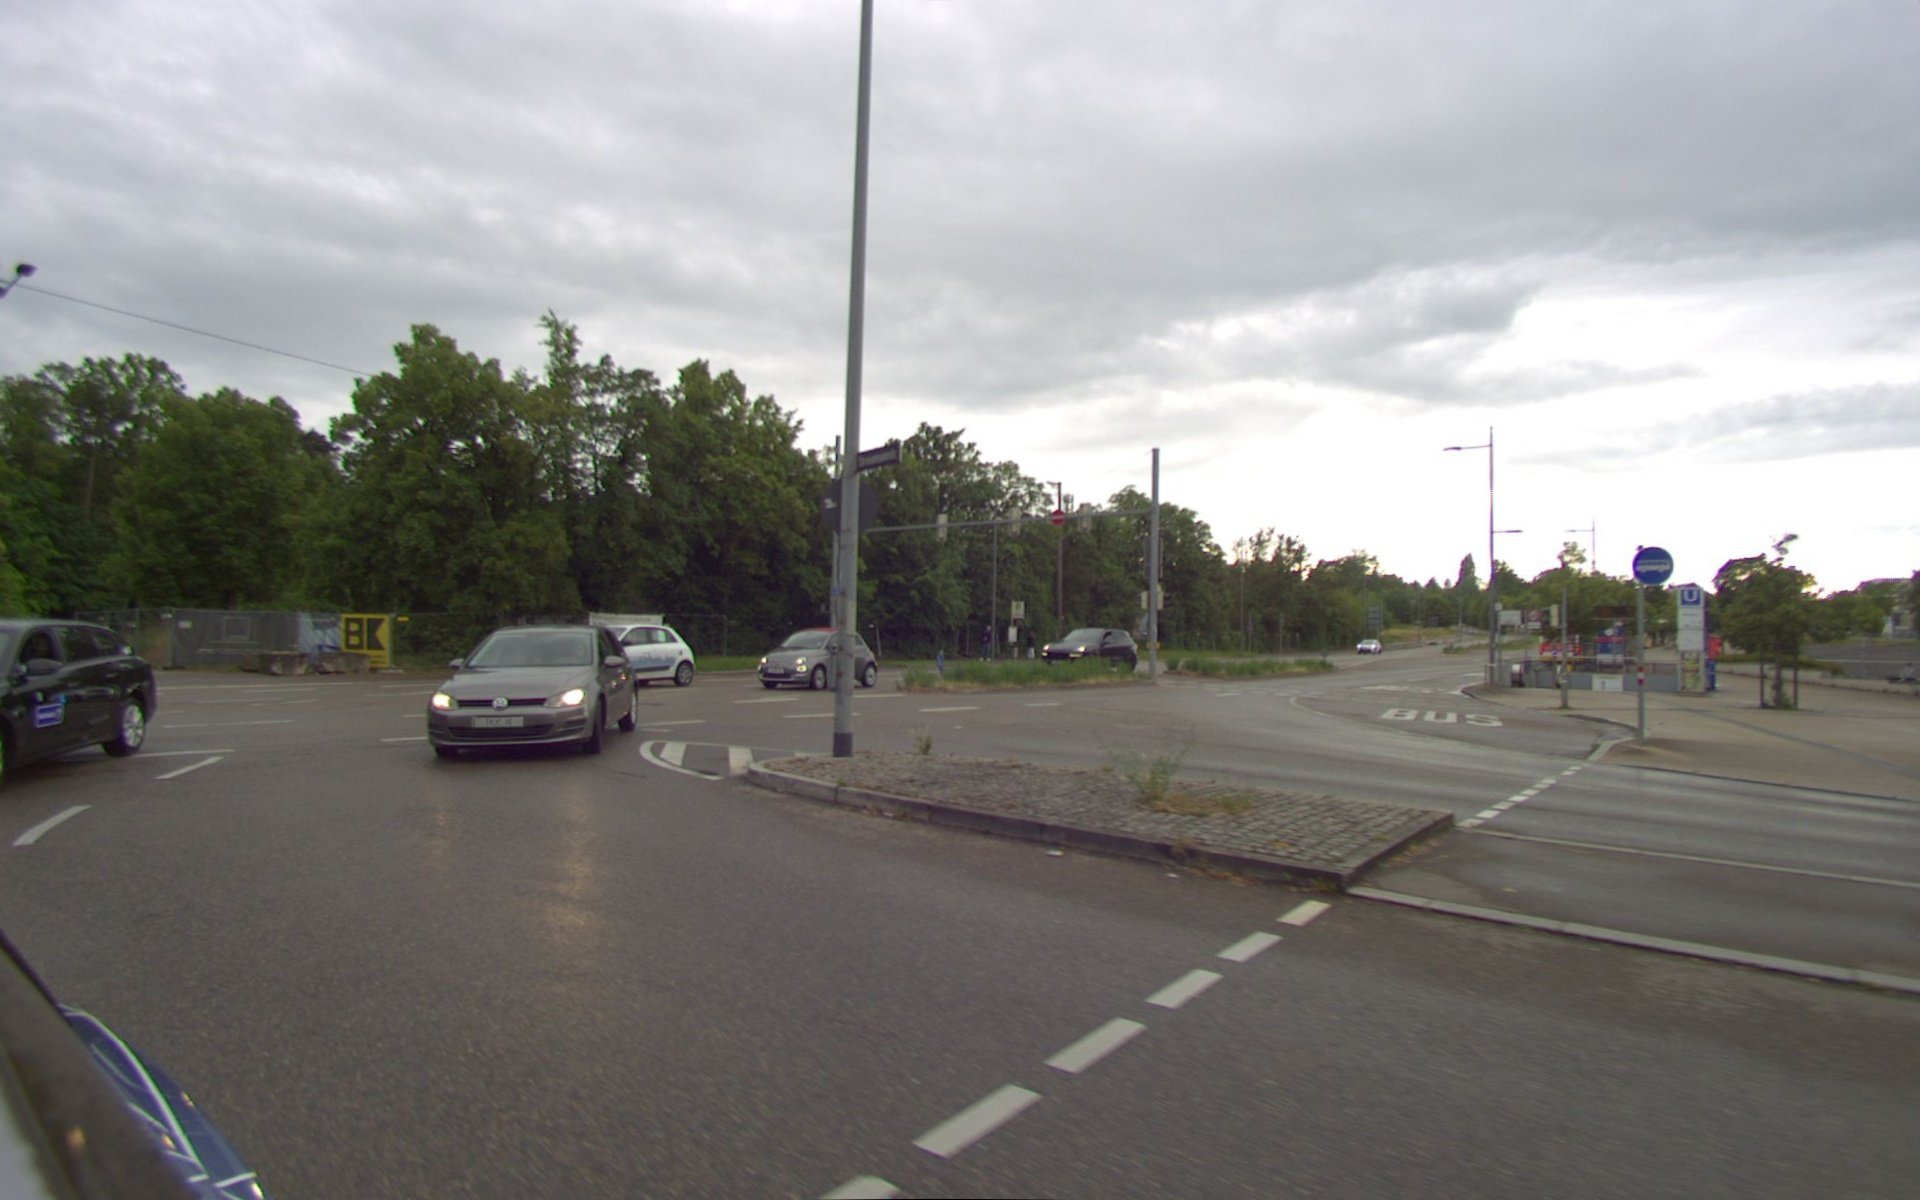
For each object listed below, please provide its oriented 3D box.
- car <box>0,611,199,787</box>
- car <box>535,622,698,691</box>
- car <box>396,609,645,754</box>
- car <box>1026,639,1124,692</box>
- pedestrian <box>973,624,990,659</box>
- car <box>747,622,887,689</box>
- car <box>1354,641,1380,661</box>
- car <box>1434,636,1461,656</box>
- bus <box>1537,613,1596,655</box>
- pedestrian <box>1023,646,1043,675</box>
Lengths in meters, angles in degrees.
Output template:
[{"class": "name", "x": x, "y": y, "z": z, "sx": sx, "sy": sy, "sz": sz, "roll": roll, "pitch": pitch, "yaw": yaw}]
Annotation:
[{"class": "car", "x": -8.993, "y": 0.845, "z": 9.143, "sx": 1.775, "sy": 1.441, "sz": 4.532, "roll": 0, "pitch": -2, "yaw": -15}, {"class": "car", "x": -8.198, "y": 1.326, "z": 24.418, "sx": 1.639, "sy": 1.532, "sz": 3.543, "roll": -1, "pitch": -2, "yaw": 29}, {"class": "car", "x": -5.086, "y": 0.954, "z": 12.329, "sx": 1.875, "sy": 1.450, "sz": 4.008, "roll": 1, "pitch": -4, "yaw": -10}, {"class": "car", "x": 4.292, "y": 2.365, "z": 37.290, "sx": 1.904, "sy": 1.785, "sz": 3.950, "roll": -1, "pitch": -3, "yaw": 36}, {"class": "pedestrian", "x": 1.169, "y": 2.248, "z": 55.492, "sx": 0.676, "sy": 1.898, "sz": 0.691, "roll": -1, "pitch": -3, "yaw": 37}, {"class": "car", "x": -3.502, "y": 1.358, "z": 25.388, "sx": 1.664, "sy": 1.541, "sz": 3.621, "roll": -1, "pitch": -2, "yaw": 29}, {"class": "car", "x": 42.872, "y": 5.404, "z": 106.548, "sx": 1.993, "sy": 2.029, "sz": 3.957, "roll": 0, "pitch": -3, "yaw": 31}, {"class": "car", "x": 50.950, "y": 4.835, "z": 105.697, "sx": 1.995, "sy": 2.029, "sz": 3.953, "roll": -2, "pitch": -3, "yaw": 34}, {"class": "bus", "x": 47.191, "y": 2.696, "z": 78.576, "sx": 2.877, "sy": 3.012, "sz": 9.880, "roll": -1, "pitch": -3, "yaw": 37}, {"class": "pedestrian", "x": 4.337, "y": 3.566, "z": 60.121, "sx": 0.821, "sy": 1.688, "sz": 0.821, "roll": -1, "pitch": -3, "yaw": 37}]
